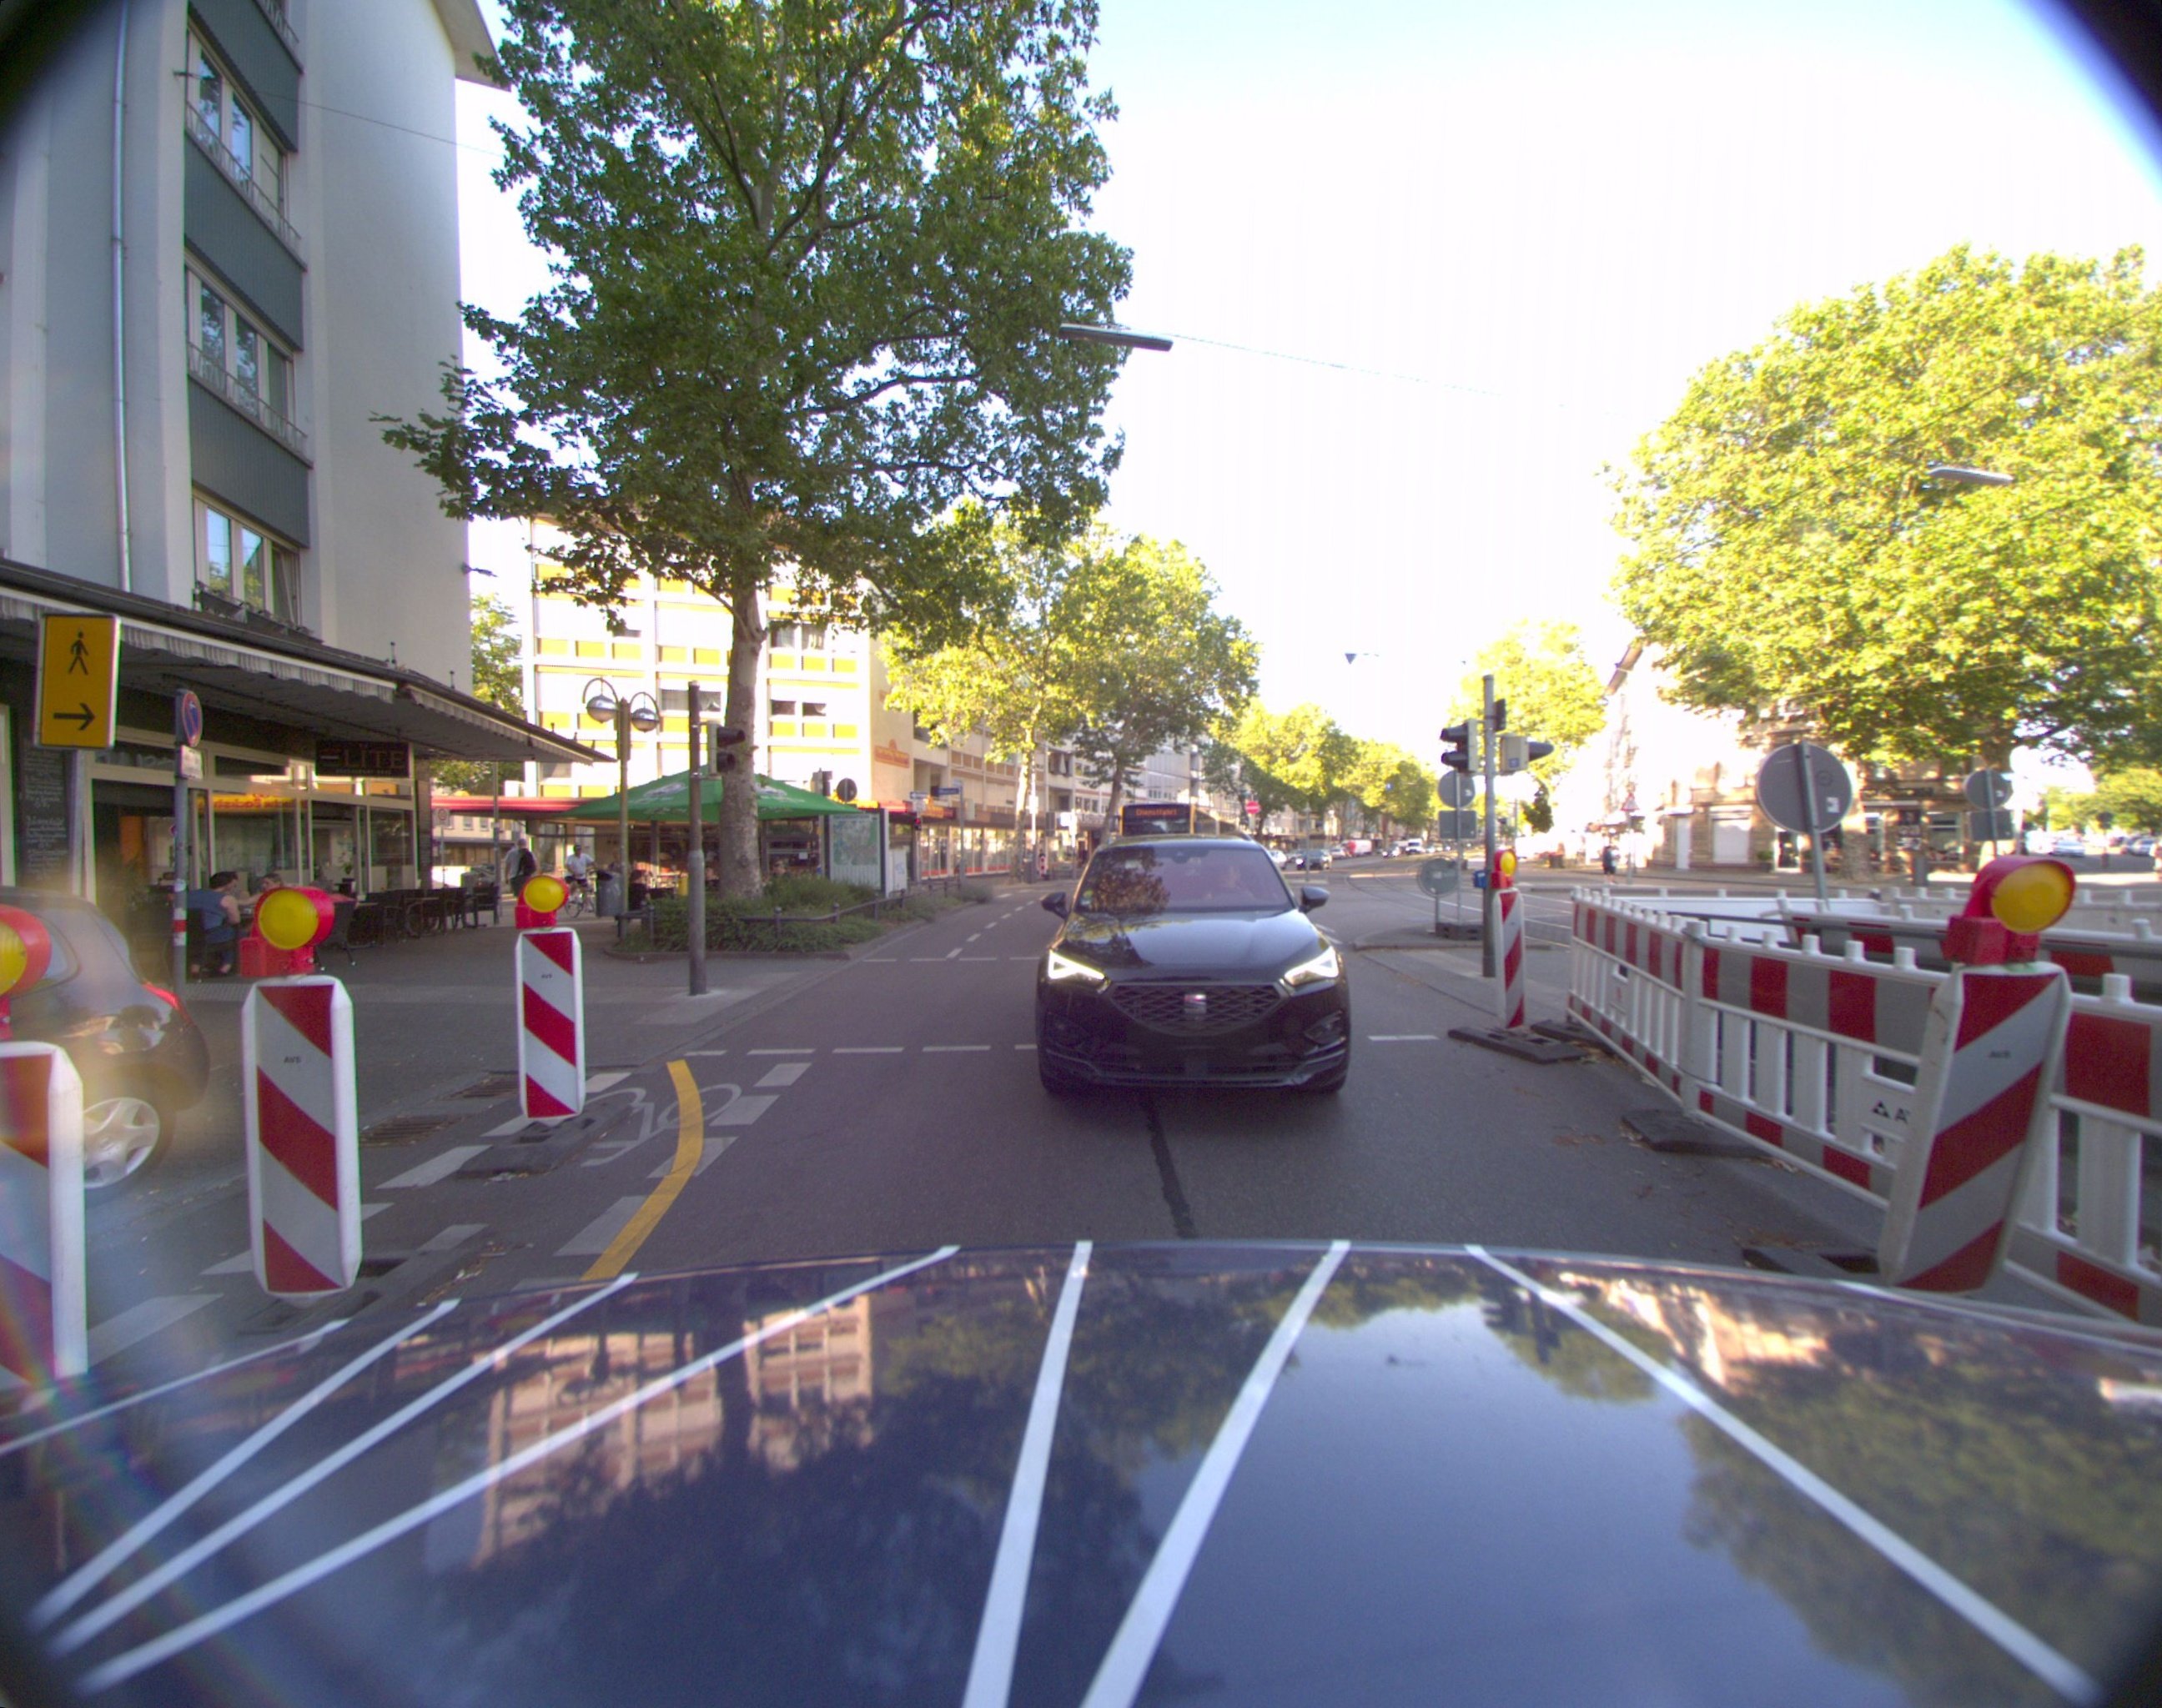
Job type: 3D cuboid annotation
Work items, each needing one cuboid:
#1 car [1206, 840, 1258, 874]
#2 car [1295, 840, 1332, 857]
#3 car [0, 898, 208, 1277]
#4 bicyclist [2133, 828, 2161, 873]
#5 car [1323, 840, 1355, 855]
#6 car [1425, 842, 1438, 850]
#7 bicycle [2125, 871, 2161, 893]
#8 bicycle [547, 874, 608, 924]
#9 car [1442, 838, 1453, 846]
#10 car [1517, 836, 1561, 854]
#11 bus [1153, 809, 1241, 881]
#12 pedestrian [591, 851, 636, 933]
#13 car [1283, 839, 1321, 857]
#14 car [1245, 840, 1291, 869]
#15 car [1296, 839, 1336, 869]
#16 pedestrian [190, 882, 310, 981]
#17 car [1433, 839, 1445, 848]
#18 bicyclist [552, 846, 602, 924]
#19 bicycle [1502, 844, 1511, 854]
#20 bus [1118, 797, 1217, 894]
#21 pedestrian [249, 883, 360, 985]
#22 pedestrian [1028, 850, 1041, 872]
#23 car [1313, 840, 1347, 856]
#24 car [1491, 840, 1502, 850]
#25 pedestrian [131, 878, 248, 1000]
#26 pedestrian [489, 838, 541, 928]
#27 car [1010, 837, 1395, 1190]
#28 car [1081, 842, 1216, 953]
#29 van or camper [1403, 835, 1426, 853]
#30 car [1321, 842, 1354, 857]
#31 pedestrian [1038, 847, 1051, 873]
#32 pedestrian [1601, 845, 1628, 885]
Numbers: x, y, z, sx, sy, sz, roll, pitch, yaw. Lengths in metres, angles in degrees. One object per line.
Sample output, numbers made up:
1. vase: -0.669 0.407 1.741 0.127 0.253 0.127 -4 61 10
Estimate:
1. car: 9.272 0.151 46.360 1.995 2.002 4.105 0 1 29
2. car: 28.405 -0.648 92.884 3.994 2.002 2.001 -1 1 8
3. car: -5.221 0.967 1.977 1.771 1.459 3.610 2 1 -2
4. bicyclist: 41.473 -0.123 29.438 0.766 1.718 0.672 -1 1 -23
5. car: 36.568 -0.899 107.924 3.994 2.002 2.001 -1 1 8
6. car: 62.770 -1.450 136.035 1.700 1.462 3.771 0 1 31
7. bicycle: 41.382 1.069 29.423 1.993 0.777 0.680 -1 1 -23
8. bicycle: -12.169 1.059 18.342 1.881 1.123 0.753 -2 0 42
9. car: 82.625 -2.751 171.376 1.836 1.792 4.138 0 1 31
10. car: 52.549 -0.993 87.196 4.001 2.002 1.997 -1 1 -13
11. bus: 5.882 -0.437 37.083 2.717 3.088 8.608 0 1 19
12. pedestrian: -9.574 0.763 15.581 0.629 1.628 0.531 -1 1 -15
13. car: 24.861 -0.657 85.316 3.991 2.002 2.003 0 1 18
14. car: 13.651 -0.008 55.271 1.994 2.002 4.008 0 1 33
15. car: 16.622 -0.037 53.570 1.995 2.002 4.007 0 1 27
16. pedestrian: -10.703 0.980 9.816 0.647 1.186 0.792 0 1 7
17. car: 71.145 -2.148 151.043 1.836 1.792 4.138 0 1 31
18. bicyclist: -12.128 0.715 18.294 0.923 1.815 0.755 0 1 42
19. bicycle: 50.343 -0.627 89.894 0.850 1.186 2.470 0 1 28
20. bus: 3.527 -0.309 28.730 2.718 3.088 8.629 0 1 13
21. pedestrian: -9.876 0.985 9.674 0.877 1.186 0.701 0 1 24
22. pedestrian: -2.940 0.439 47.867 0.627 1.429 0.532 0 1 20
23. car: 32.345 -0.791 98.813 3.994 2.002 2.001 -1 1 8
24. car: 83.827 -1.897 153.288 1.994 2.002 4.007 0 1 29
25. pedestrian: -10.349 0.947 8.830 0.789 1.299 0.701 0 1 28
26. pedestrian: -12.677 0.632 17.049 0.649 1.948 0.888 -1 1 -19
27. car: 0.617 0.755 5.664 1.841 1.696 4.000 -1 1 1
28. car: 1.033 0.631 13.319 1.998 1.634 4.075 -1 1 1
29. van or camper: 52.597 -1.587 119.838 2.420 2.702 6.144 0 1 32
30. car: 34.927 -0.607 103.605 3.994 2.002 2.001 -1 1 8
31. pedestrian: -2.311 0.385 47.589 0.627 1.577 0.532 0 1 20
32. pedestrian: 20.341 0.419 28.993 0.603 1.524 0.745 0 1 12
